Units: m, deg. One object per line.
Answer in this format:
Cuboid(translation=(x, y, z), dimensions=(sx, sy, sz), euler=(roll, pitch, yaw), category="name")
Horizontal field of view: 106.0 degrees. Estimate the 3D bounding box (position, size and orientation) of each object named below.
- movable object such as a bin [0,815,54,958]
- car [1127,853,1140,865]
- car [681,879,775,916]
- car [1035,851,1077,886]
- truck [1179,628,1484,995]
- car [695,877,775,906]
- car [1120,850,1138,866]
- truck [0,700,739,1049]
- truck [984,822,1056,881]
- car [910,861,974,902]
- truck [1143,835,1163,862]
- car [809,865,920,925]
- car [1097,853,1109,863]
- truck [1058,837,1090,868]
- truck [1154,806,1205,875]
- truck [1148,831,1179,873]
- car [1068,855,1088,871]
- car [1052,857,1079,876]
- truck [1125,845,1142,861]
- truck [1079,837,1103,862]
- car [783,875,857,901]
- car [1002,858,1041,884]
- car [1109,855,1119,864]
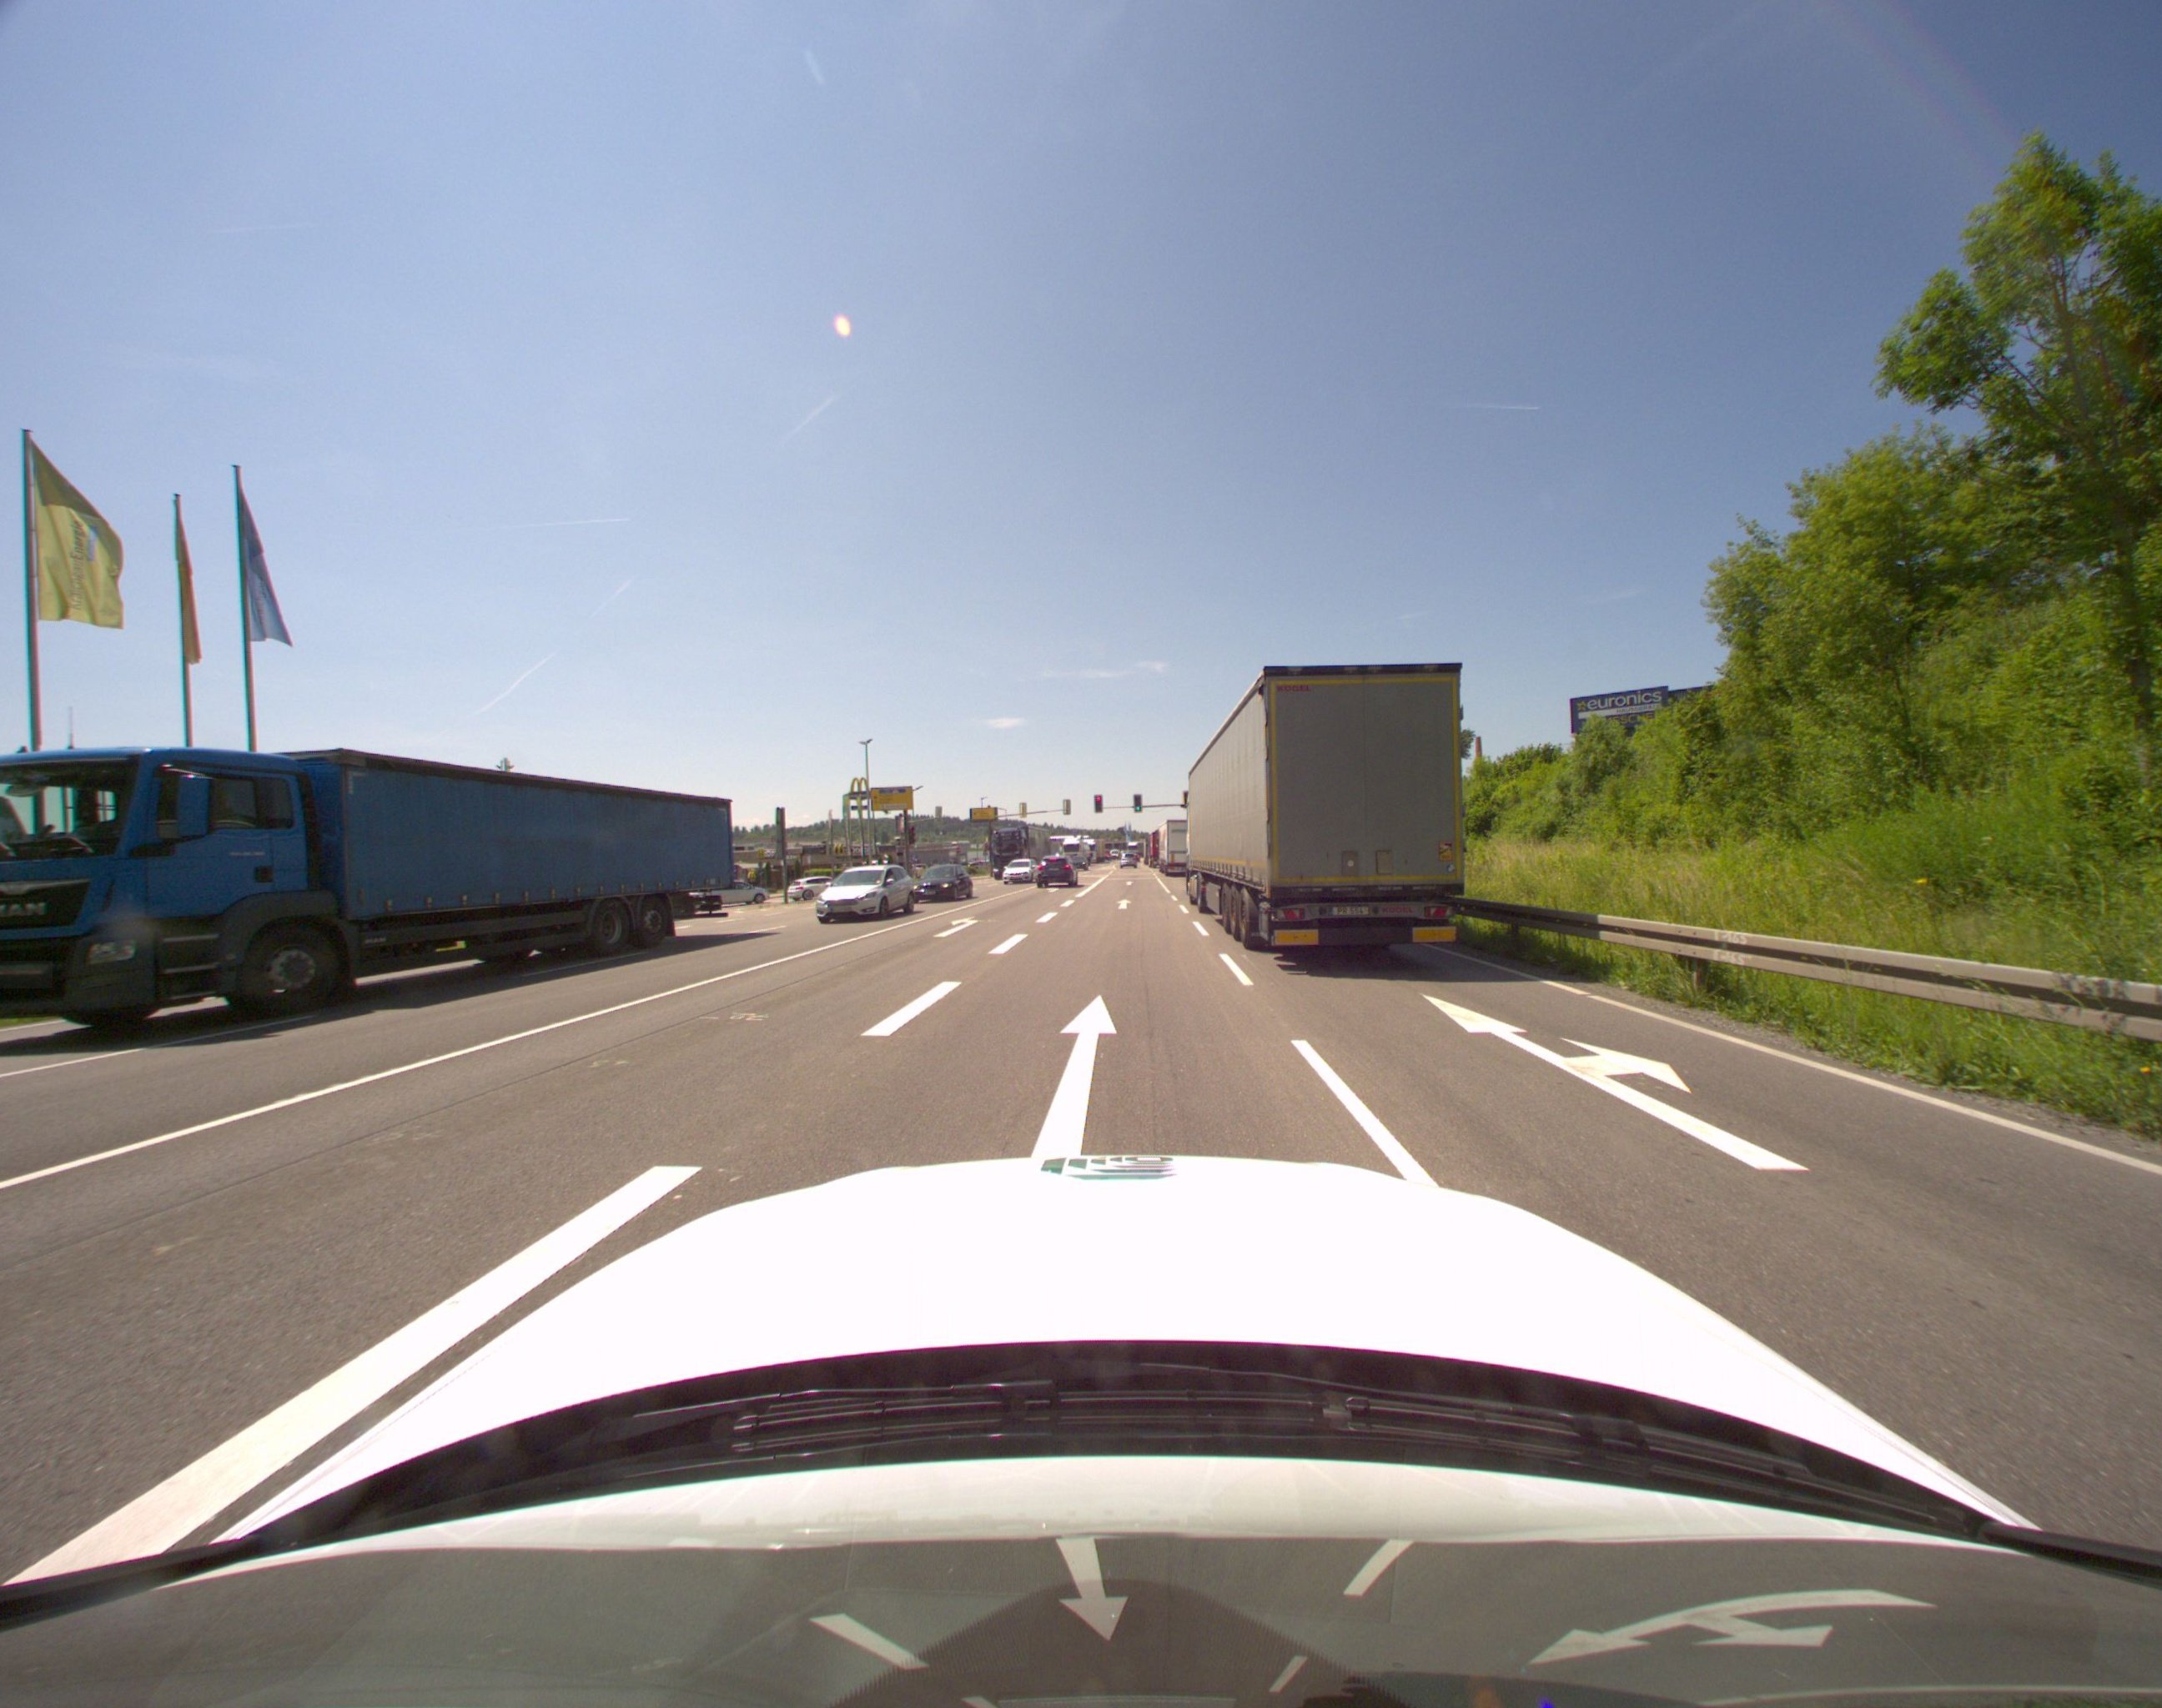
Cuboid(translation=(-28.038, 0.860, 17.638), dimensions=(3.014, 3.298, 6.832), euler=(-3, -1, 45), category="movable object such as a bin")
Cuboid(translation=(9.353, 0.850, 145.059), dimensions=(1.983, 2.013, 4.008), euler=(-2, 0, 7), category="car")
Cuboid(translation=(-19.682, 2.402, 45.573), dimensions=(1.728, 1.600, 4.438), euler=(-3, 1, 43), category="car")
Cuboid(translation=(-1.261, 0.721, 42.349), dimensions=(1.786, 1.627, 4.372), euler=(-2, 0, 2), category="car")
Cuboid(translation=(4.178, -0.368, 18.691), dimensions=(2.744, 4.639, 16.668), euler=(-1, -1, 3), category="truck")
Cuboid(translation=(-21.482, 2.303, 50.665), dimensions=(1.728, 1.601, 4.223), euler=(-3, -1, 43), category="car")
Cuboid(translation=(5.398, 0.436, 90.864), dimensions=(1.796, 1.670, 4.298), euler=(-1, 0, 6), category="car")
Cuboid(translation=(-10.005, 0.277, 13.695), dimensions=(2.833, 3.351, 11.495), euler=(-2, -1, 4), category="truck")
Cuboid(translation=(-4.874, -0.202, 70.074), dimensions=(3.131, 4.349, 17.568), euler=(-3, 0, 5), category="truck")
Cuboid(translation=(-5.384, 1.032, 32.050), dimensions=(1.656, 1.403, 4.018), euler=(-2, 0, 1), category="car")
Cuboid(translation=(10.683, -0.779, 121.634), dimensions=(2.597, 3.717, 9.457), euler=(-1, -1, 4), category="truck")
Cuboid(translation=(-5.998, 1.074, 23.070), dimensions=(1.782, 1.426, 4.265), euler=(-3, 0, 2), category="car")
Cuboid(translation=(4.425, 0.825, 162.216), dimensions=(1.983, 2.014, 4.007), euler=(-1, -1, 7), category="car")
Cuboid(translation=(-0.806, -0.249, 115.052), dimensions=(2.920, 3.950, 14.258), euler=(-4, 0, 5), category="truck")
Cuboid(translation=(7.417, -0.732, 63.642), dimensions=(2.863, 4.639, 16.668), euler=(-1, -1, 3), category="truck")
Cuboid(translation=(9.500, -0.058, 95.217), dimensions=(2.863, 4.479, 16.668), euler=(-1, -1, 3), category="truck")
Cuboid(translation=(-0.295, 0.905, 82.722), dimensions=(1.656, 1.508, 3.910), euler=(-3, 0, 5), category="car")
Cuboid(translation=(-1.283, 1.013, 68.988), dimensions=(1.802, 1.508, 4.952), euler=(-2, 0, 4), category="car")
Cuboid(translation=(14.117, -0.267, 219.371), dimensions=(3.251, 3.950, 13.898), euler=(-1, -1, 9), category="truck")
Cuboid(translation=(1.824, -0.646, 139.921), dimensions=(2.920, 3.950, 13.885), euler=(-2, 0, 5), category="truck")
Cuboid(translation=(-16.390, 2.109, 51.224), dimensions=(4.036, 1.480, 1.768), euler=(1, -2, -44), category="car")
Cuboid(translation=(-3.692, 1.067, 51.126), dimensions=(1.732, 1.503, 4.411), euler=(-3, -2, 5), category="car")
Cuboid(translation=(7.260, 1.234, 179.171), dimensions=(1.895, 2.014, 4.007), euler=(-1, -1, 7), category="car")
